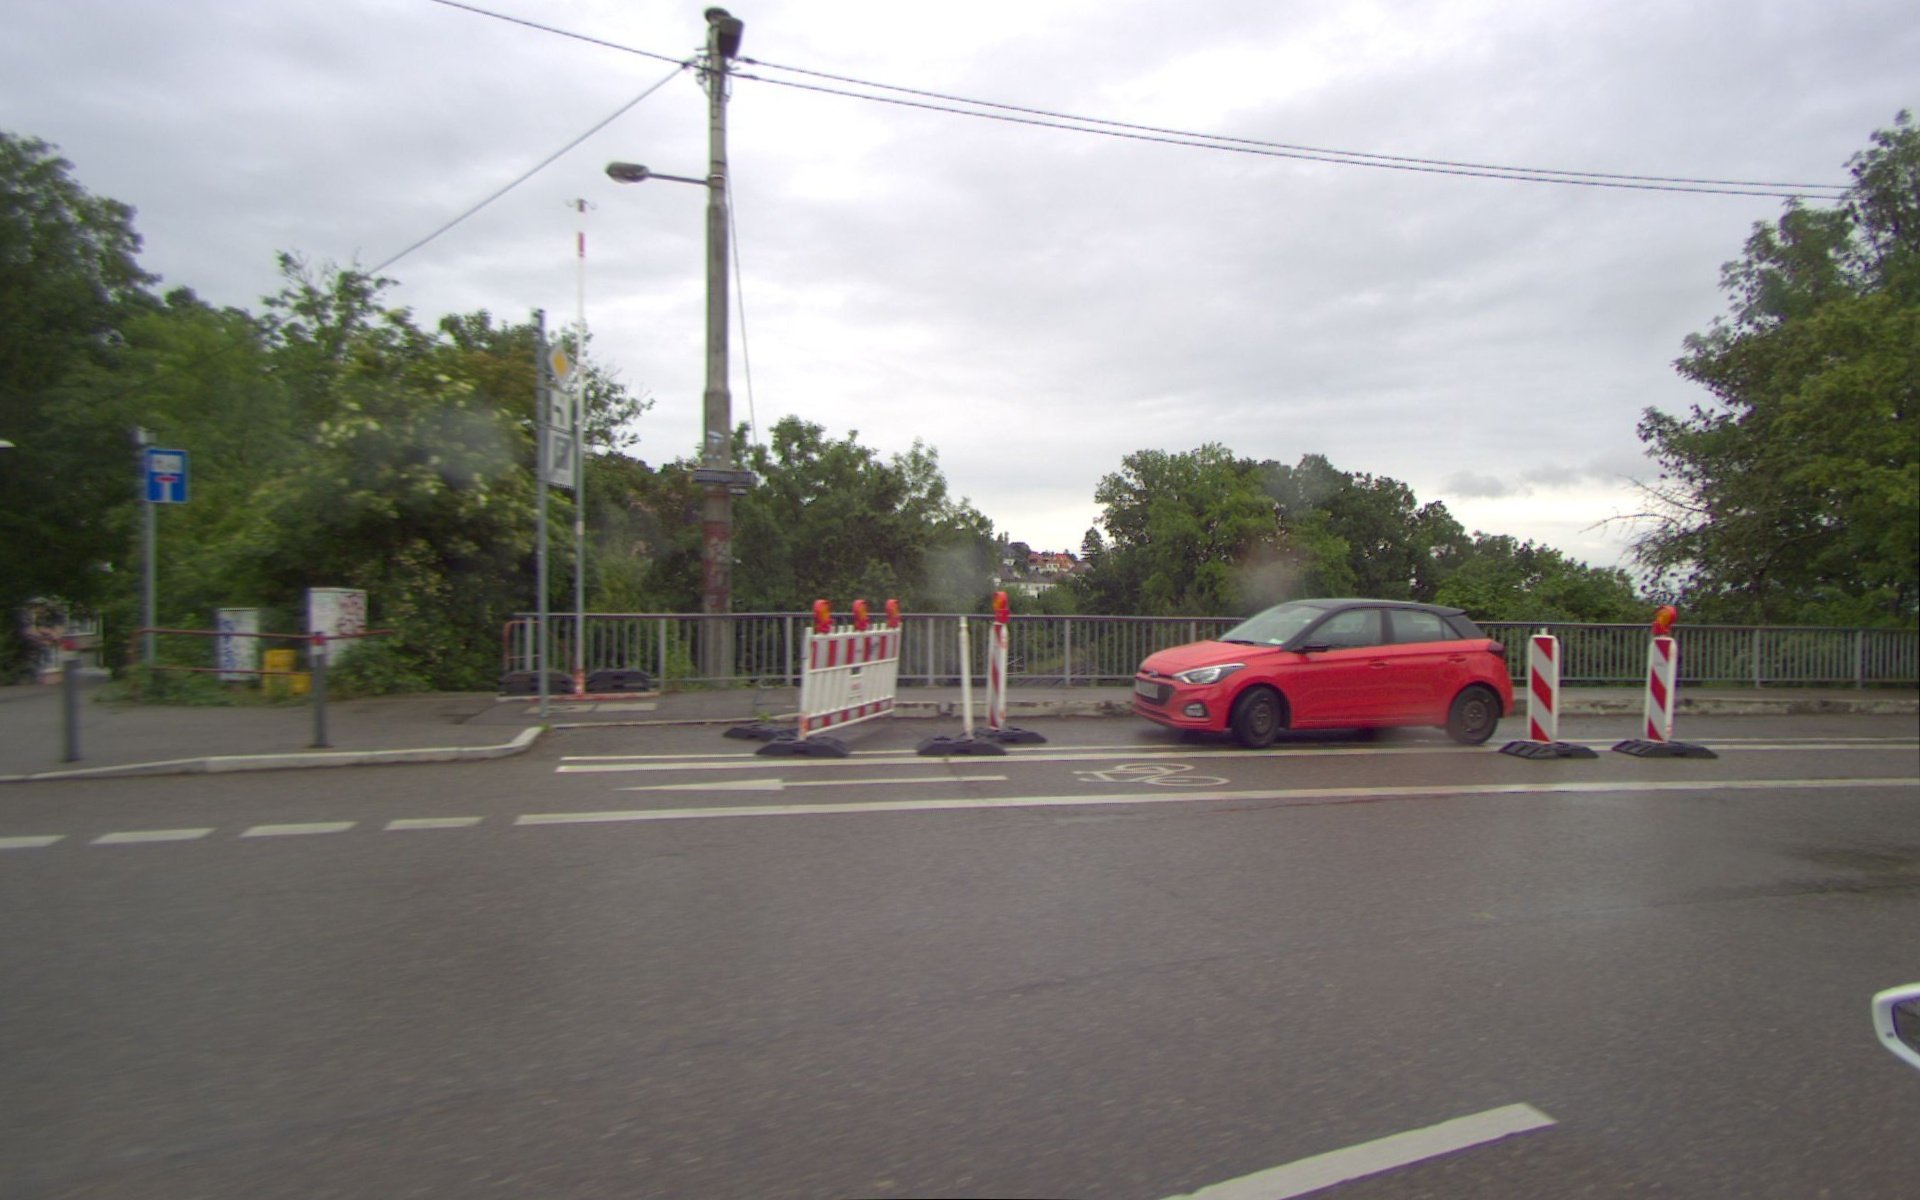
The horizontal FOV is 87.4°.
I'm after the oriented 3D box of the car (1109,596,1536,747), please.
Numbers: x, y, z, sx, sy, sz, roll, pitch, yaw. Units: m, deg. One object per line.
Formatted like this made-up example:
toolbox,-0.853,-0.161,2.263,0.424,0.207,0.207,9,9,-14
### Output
car,3.851,0.753,10.859,4.066,1.416,1.686,2,0,-14
